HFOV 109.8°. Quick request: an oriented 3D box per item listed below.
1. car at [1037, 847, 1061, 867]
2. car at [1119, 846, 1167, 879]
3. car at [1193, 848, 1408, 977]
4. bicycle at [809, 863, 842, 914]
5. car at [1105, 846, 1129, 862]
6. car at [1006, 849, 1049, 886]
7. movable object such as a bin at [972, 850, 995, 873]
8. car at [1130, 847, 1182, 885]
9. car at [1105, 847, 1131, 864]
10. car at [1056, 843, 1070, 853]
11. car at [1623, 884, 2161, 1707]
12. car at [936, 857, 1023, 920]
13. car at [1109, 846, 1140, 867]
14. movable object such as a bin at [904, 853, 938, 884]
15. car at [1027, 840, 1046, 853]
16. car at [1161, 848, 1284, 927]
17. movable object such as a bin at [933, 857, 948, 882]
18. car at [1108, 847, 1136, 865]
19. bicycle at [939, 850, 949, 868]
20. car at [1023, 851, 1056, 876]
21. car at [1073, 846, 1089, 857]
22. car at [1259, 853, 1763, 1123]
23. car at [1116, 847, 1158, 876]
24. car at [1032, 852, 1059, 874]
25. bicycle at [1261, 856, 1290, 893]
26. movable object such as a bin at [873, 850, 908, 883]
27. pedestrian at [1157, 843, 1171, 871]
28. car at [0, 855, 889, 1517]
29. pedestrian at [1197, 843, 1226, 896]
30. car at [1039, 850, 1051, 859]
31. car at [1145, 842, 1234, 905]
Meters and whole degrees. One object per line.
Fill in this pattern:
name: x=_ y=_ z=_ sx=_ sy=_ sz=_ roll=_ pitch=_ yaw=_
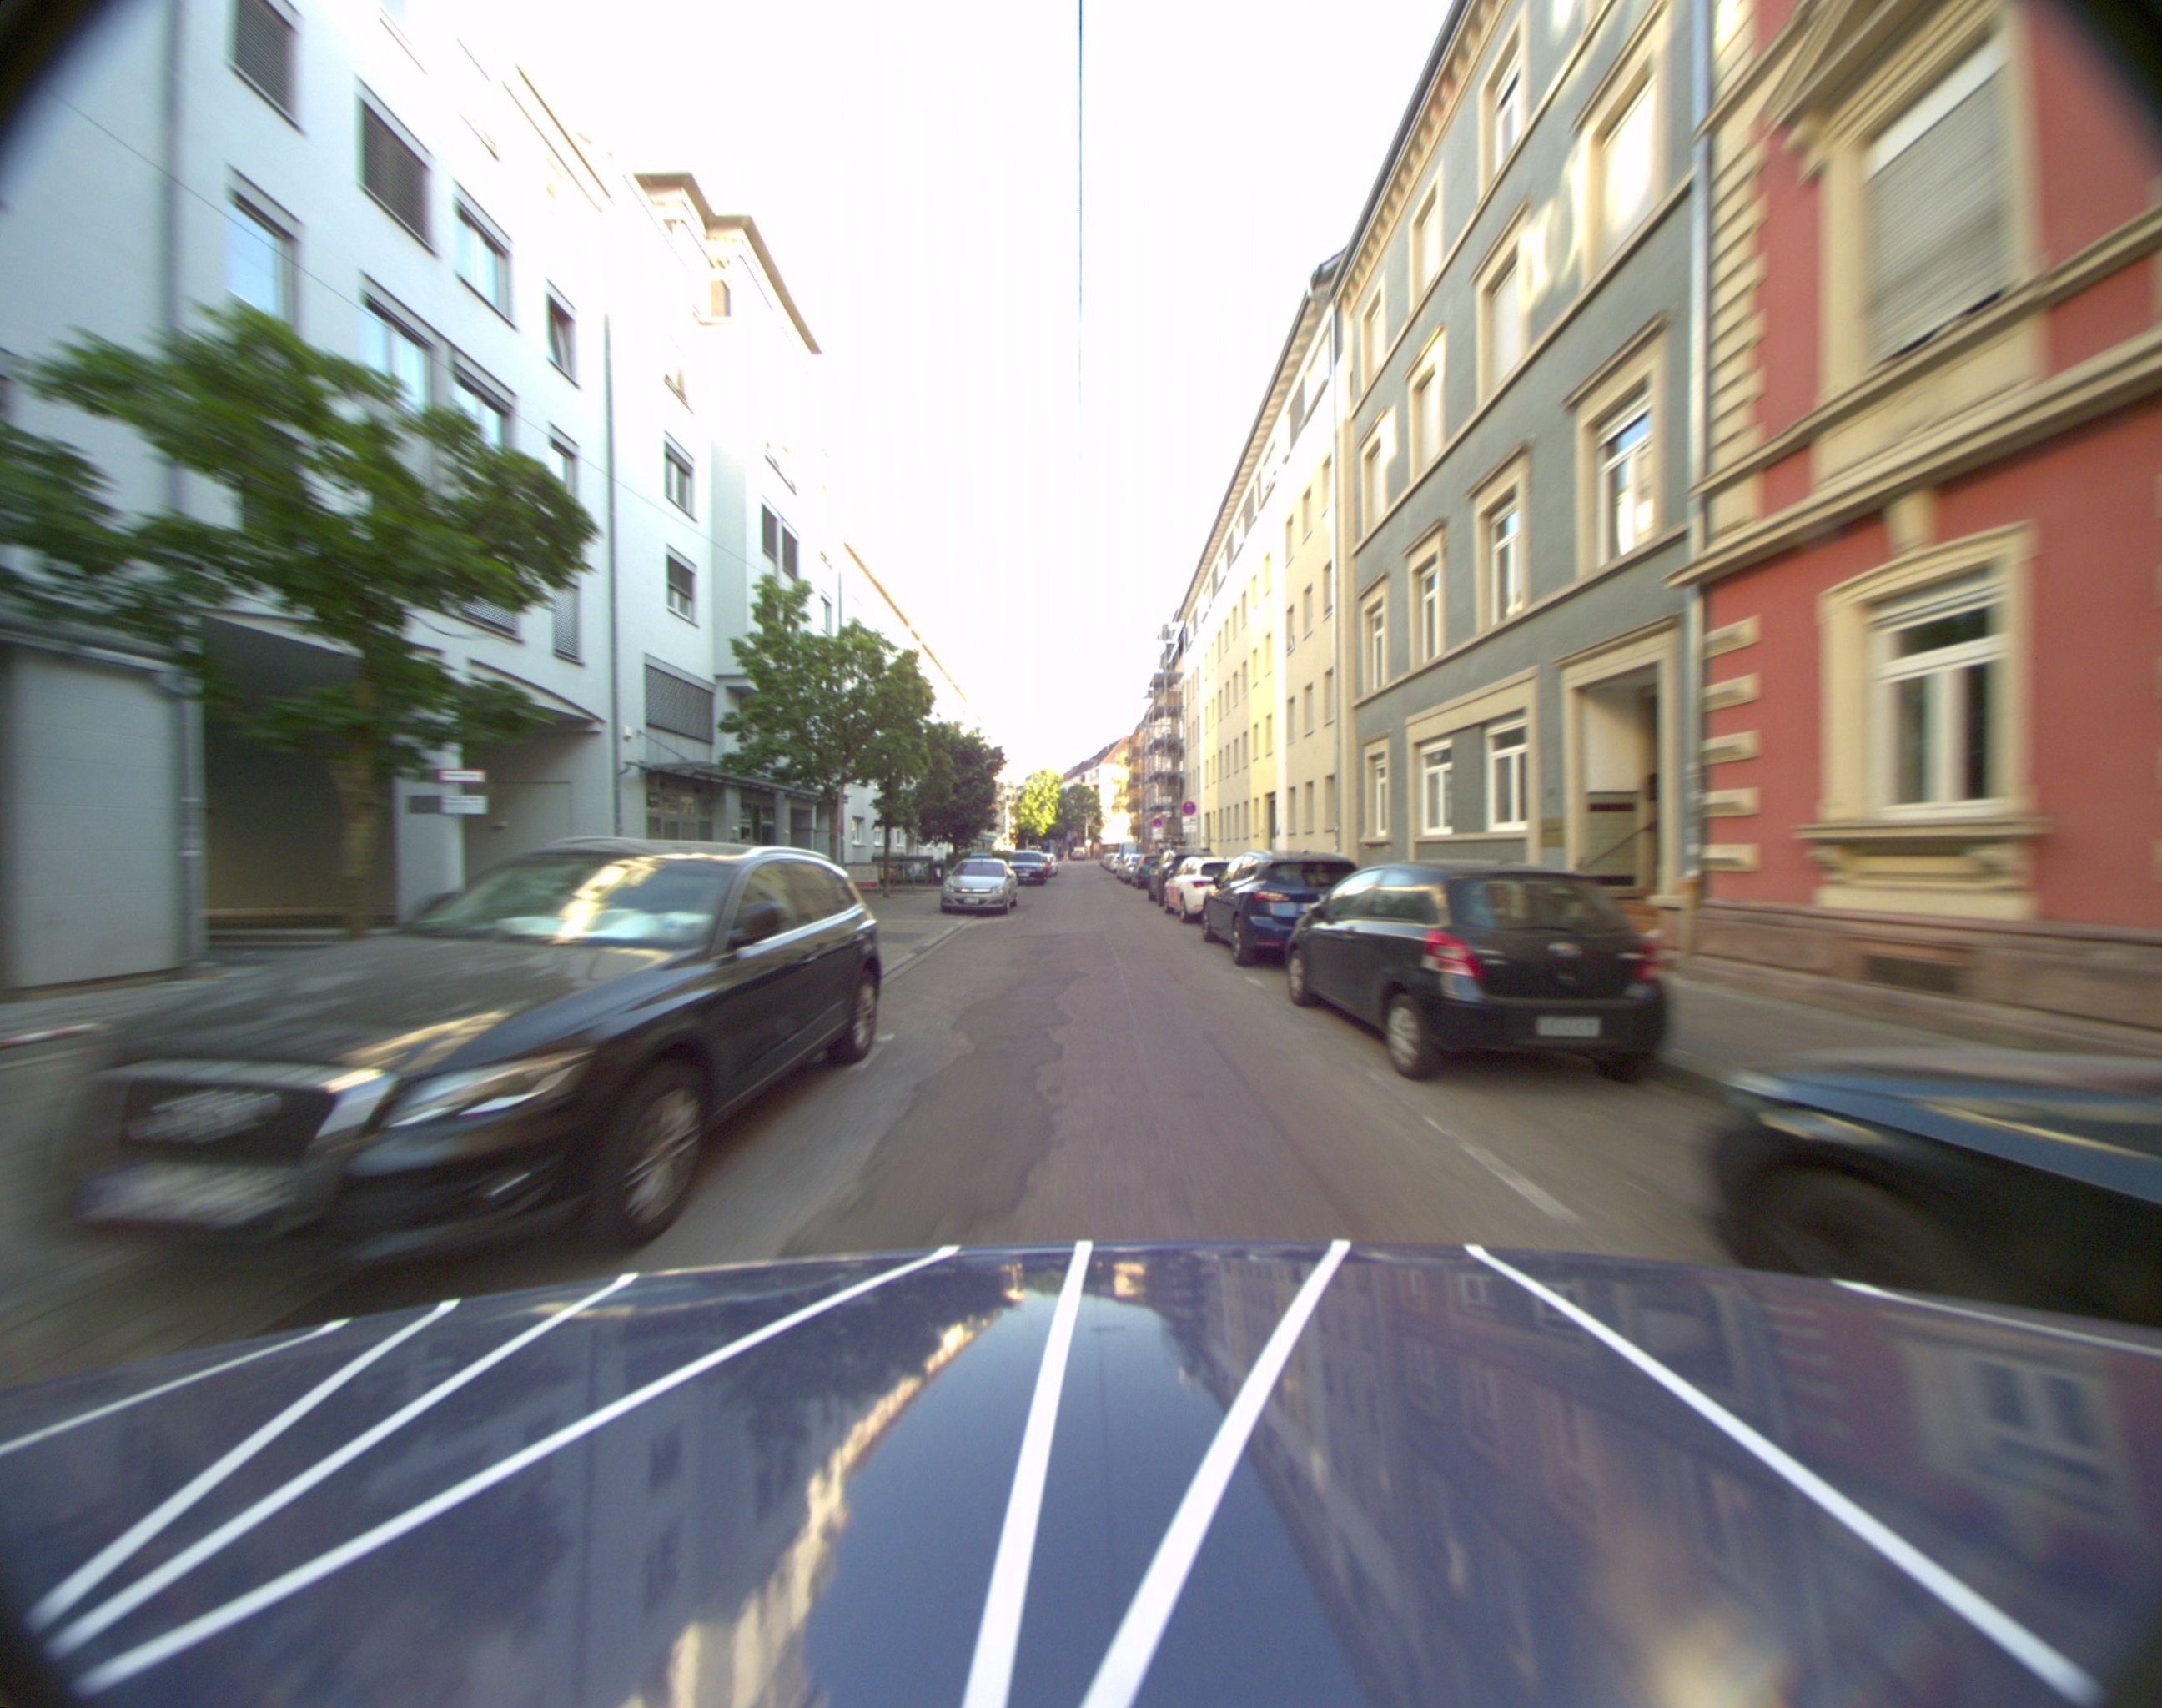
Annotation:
car: x=-2.466 y=0.201 z=59.152 sx=1.681 sy=1.411 sz=4.135 roll=1 pitch=1 yaw=0
car: x=3.010 y=0.371 z=37.625 sx=1.927 sy=1.480 sz=4.616 roll=1 pitch=1 yaw=-1
car: x=2.998 y=0.708 z=11.429 sx=1.925 sy=1.551 sz=4.266 roll=1 pitch=0 yaw=-1
bicycle: x=-6.383 y=0.836 z=19.029 sx=0.522 sy=1.162 sz=1.738 roll=0 pitch=1 yaw=-10
car: x=3.385 y=0.005 z=73.004 sx=1.999 sy=1.423 sz=3.999 roll=1 pitch=1 yaw=-2
car: x=-2.564 y=0.603 z=37.250 sx=1.876 sy=1.626 sz=4.721 roll=1 pitch=1 yaw=-2
movable object such as a bin: x=-6.175 y=0.472 z=48.342 sx=1.287 sy=1.428 sz=1.223 roll=0 pitch=1 yaw=0
car: x=3.150 y=0.456 z=32.771 sx=1.783 sy=1.480 sz=4.420 roll=1 pitch=1 yaw=0
car: x=3.260 y=0.098 z=67.583 sx=1.999 sy=1.423 sz=3.999 roll=1 pitch=1 yaw=-2
car: x=-3.201 y=-1.050 z=136.290 sx=2.081 sy=1.760 sz=4.214 roll=1 pitch=1 yaw=-8
car: x=2.976 y=0.877 z=0.636 sx=1.925 sy=1.475 sz=4.266 roll=1 pitch=0 yaw=-1
car: x=-2.651 y=0.853 z=20.738 sx=1.768 sy=1.421 sz=4.344 roll=1 pitch=1 yaw=0
car: x=3.270 y=0.154 z=57.440 sx=1.999 sy=1.496 sz=3.999 roll=1 pitch=1 yaw=-2
movable object such as a bin: x=-7.089 y=0.634 z=33.814 sx=1.264 sy=1.313 sz=1.139 roll=0 pitch=1 yaw=0
car: x=-7.604 y=-1.295 z=129.040 sx=2.163 sy=2.270 sz=6.199 roll=0 pitch=1 yaw=-13
car: x=3.054 y=0.653 z=17.331 sx=1.925 sy=1.551 sz=4.266 roll=1 pitch=0 yaw=-1
movable object such as a bin: x=-6.182 y=0.674 z=33.476 sx=0.529 sy=1.065 sz=0.625 roll=0 pitch=1 yaw=0
car: x=3.340 y=0.131 z=62.269 sx=1.999 sy=1.440 sz=3.999 roll=1 pitch=1 yaw=-2
bicycle: x=-8.690 y=0.331 z=48.093 sx=0.602 sy=1.085 sz=1.738 roll=0 pitch=1 yaw=-10
car: x=-2.577 y=0.588 z=48.027 sx=1.680 sy=1.474 sz=3.652 roll=1 pitch=1 yaw=3
car: x=0.045 y=-0.442 z=120.305 sx=2.081 sy=1.760 sz=4.215 roll=1 pitch=1 yaw=-6
car: x=3.036 y=0.796 z=6.610 sx=1.906 sy=1.551 sz=4.240 roll=1 pitch=0 yaw=-1
car: x=3.106 y=0.393 z=42.995 sx=1.928 sy=1.480 sz=4.616 roll=1 pitch=1 yaw=-2
car: x=-2.417 y=0.575 z=52.971 sx=1.680 sy=1.411 sz=4.135 roll=1 pitch=1 yaw=0
bicycle: x=6.113 y=0.621 z=23.915 sx=0.451 sy=1.068 sz=1.751 roll=-2 pitch=1 yaw=0
movable object such as a bin: x=-8.396 y=0.551 z=33.562 sx=1.264 sy=1.428 sz=1.139 roll=0 pitch=1 yaw=0
pedestrian: x=5.339 y=0.167 z=49.014 sx=0.791 sy=1.750 sz=1.092 roll=1 pitch=1 yaw=0
car: x=-2.565 y=0.856 z=4.148 sx=1.890 sy=1.613 sz=4.433 roll=1 pitch=1 yaw=0
pedestrian: x=4.505 y=0.532 z=26.212 sx=0.791 sy=1.780 sz=1.092 roll=1 pitch=1 yaw=0
car: x=-6.529 y=0.029 z=137.890 sx=1.830 sy=1.496 sz=3.996 roll=0 pitch=1 yaw=-10
car: x=3.097 y=0.504 z=22.582 sx=1.925 sy=1.654 sz=4.468 roll=1 pitch=0 yaw=-1
